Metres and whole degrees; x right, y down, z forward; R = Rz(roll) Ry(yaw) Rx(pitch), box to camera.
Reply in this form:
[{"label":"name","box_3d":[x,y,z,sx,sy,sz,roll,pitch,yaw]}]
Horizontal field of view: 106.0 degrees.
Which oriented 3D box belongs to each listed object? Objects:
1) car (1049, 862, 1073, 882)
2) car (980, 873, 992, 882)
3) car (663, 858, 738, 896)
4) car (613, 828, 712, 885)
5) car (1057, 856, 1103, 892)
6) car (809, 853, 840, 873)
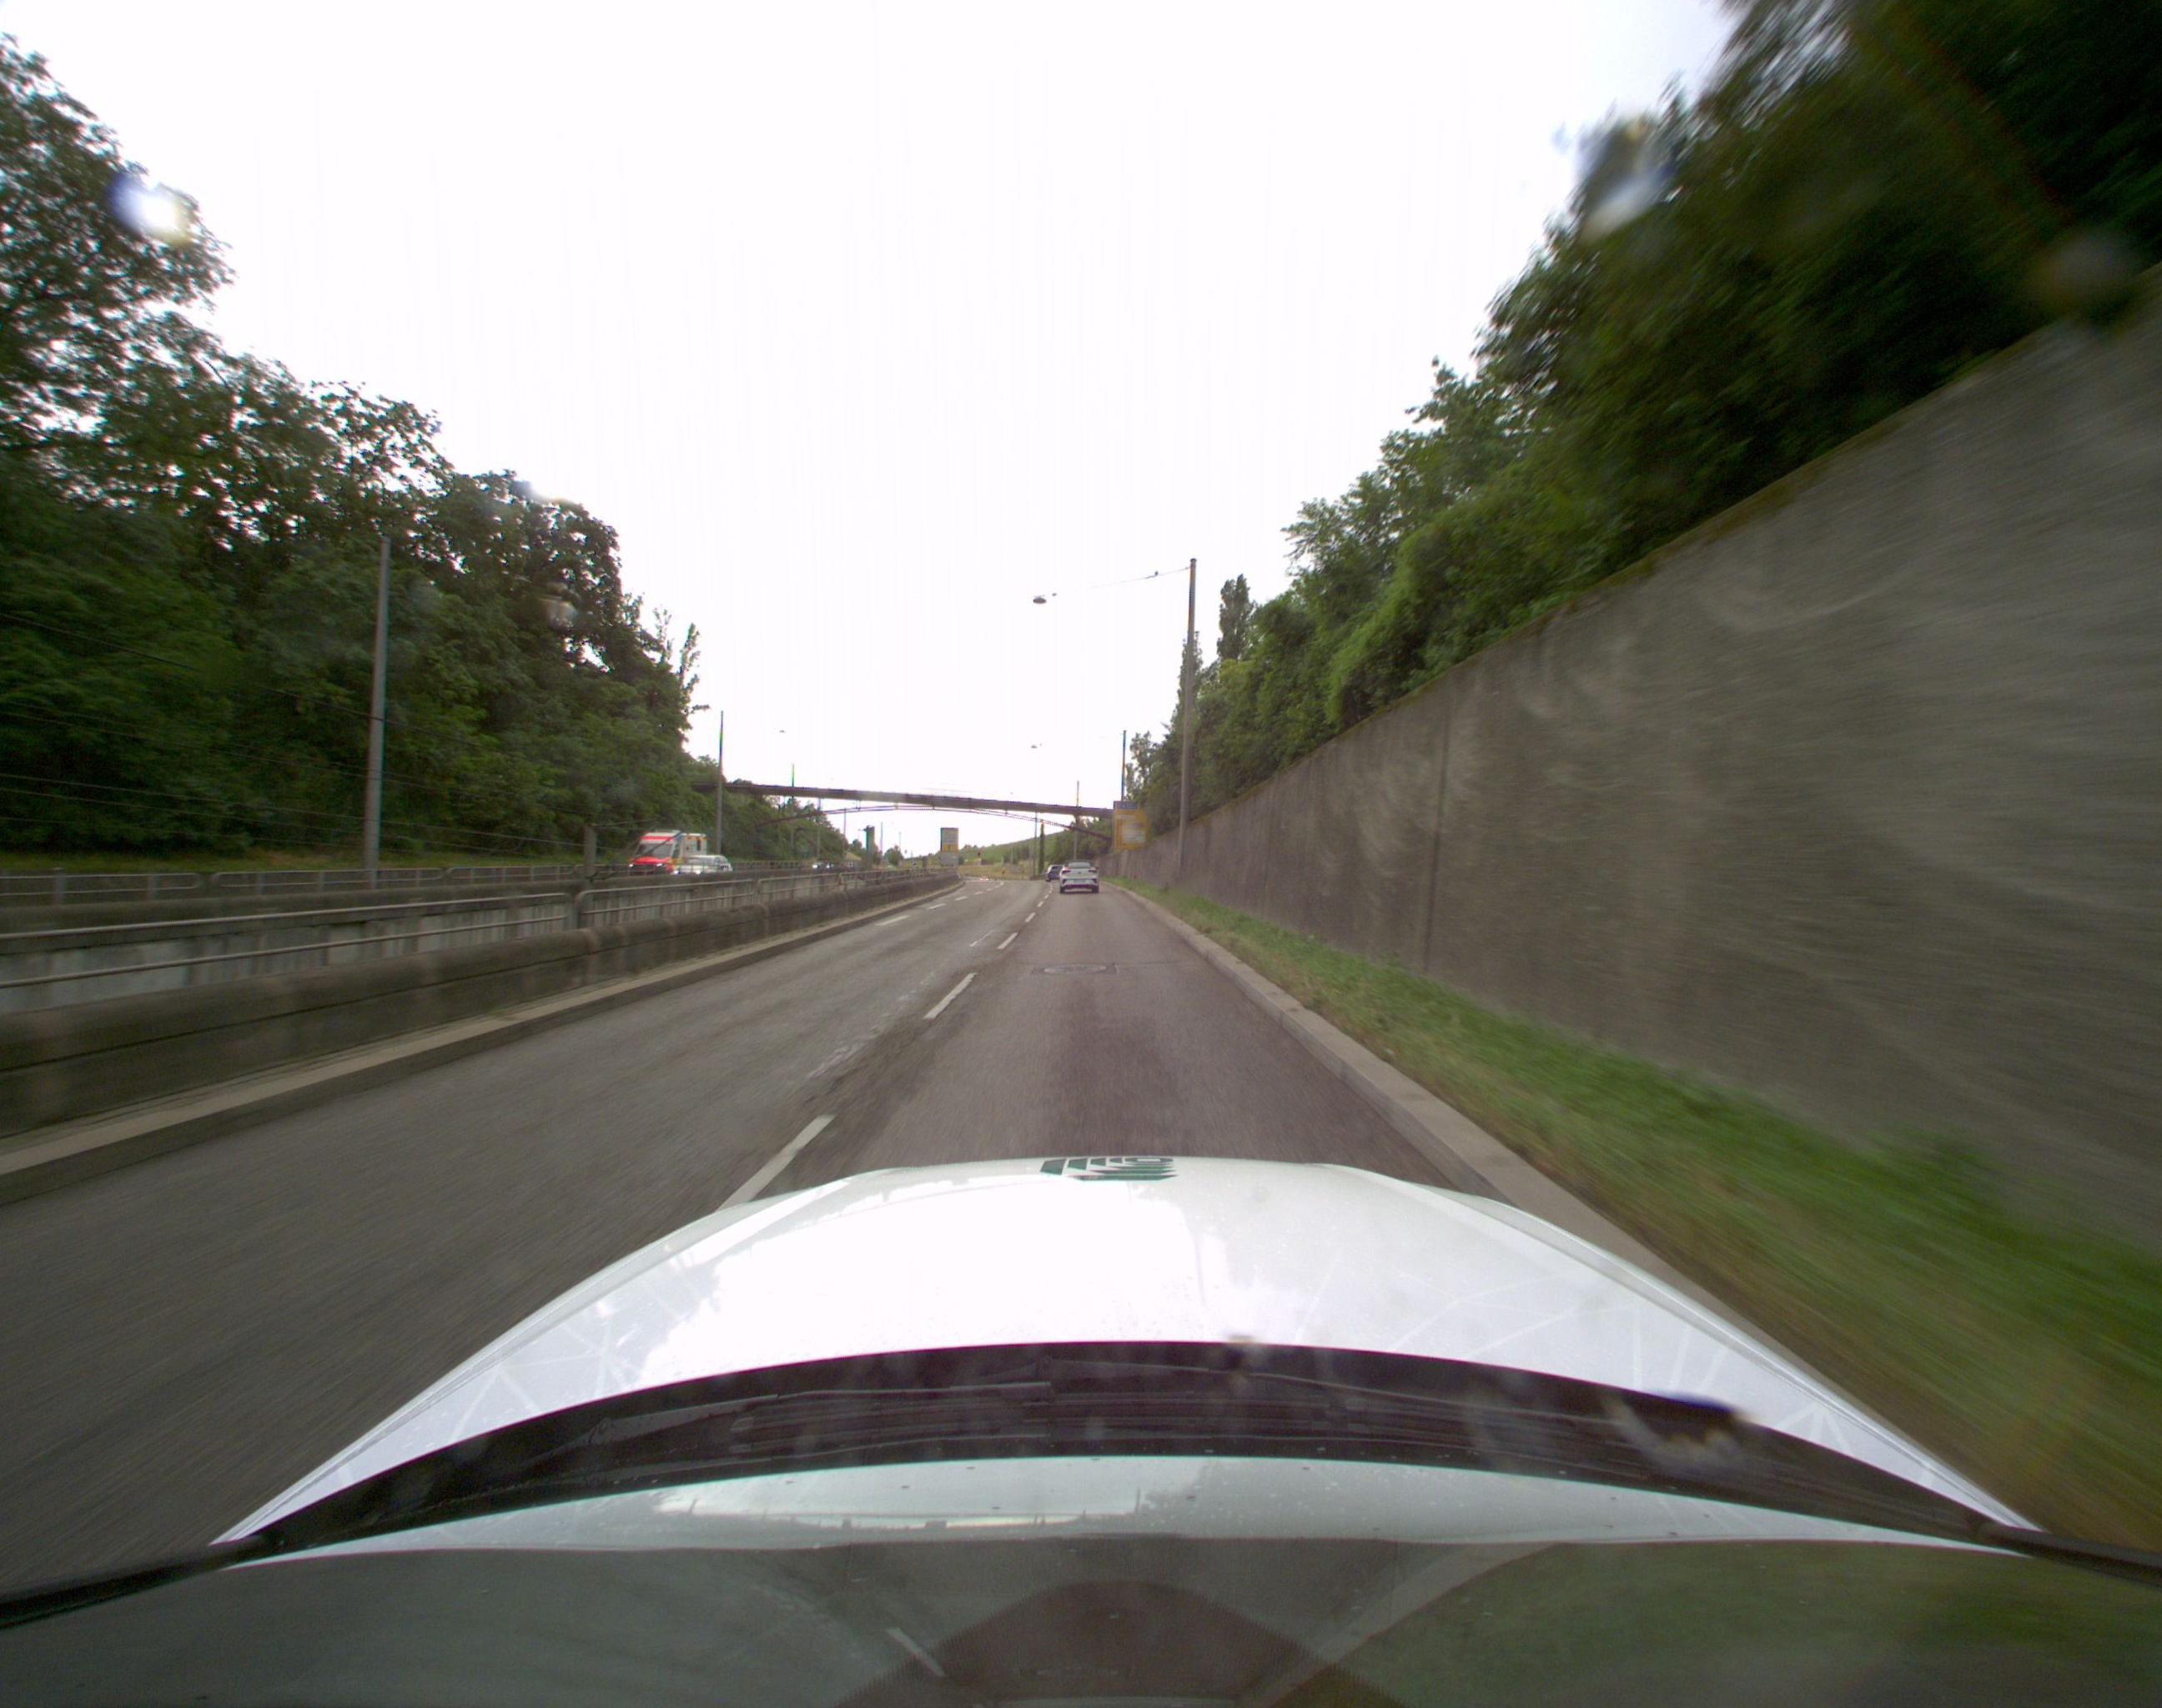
[{"label":"car","box_3d":[-1.747,1.546,70.131,1.921,1.599,4.058,-1,0,-2]},{"label":"car","box_3d":[-18.851,4.711,161.696,1.768,1.519,3.725,3,-3,2]},{"label":"car","box_3d":[-18.211,1.057,39.217,1.813,1.704,4.106,-1,-1,-3]},{"label":"car","box_3d":[-21.960,0.156,43.154,2.177,2.734,6.338,-1,-1,-3]},{"label":"car","box_3d":[-0.080,0.892,38.043,1.990,1.578,4.123,-1,0,-2]},{"label":"car","box_3d":[-23.281,0.840,73.908,1.960,1.750,4.130,-1,-1,-8]}]
